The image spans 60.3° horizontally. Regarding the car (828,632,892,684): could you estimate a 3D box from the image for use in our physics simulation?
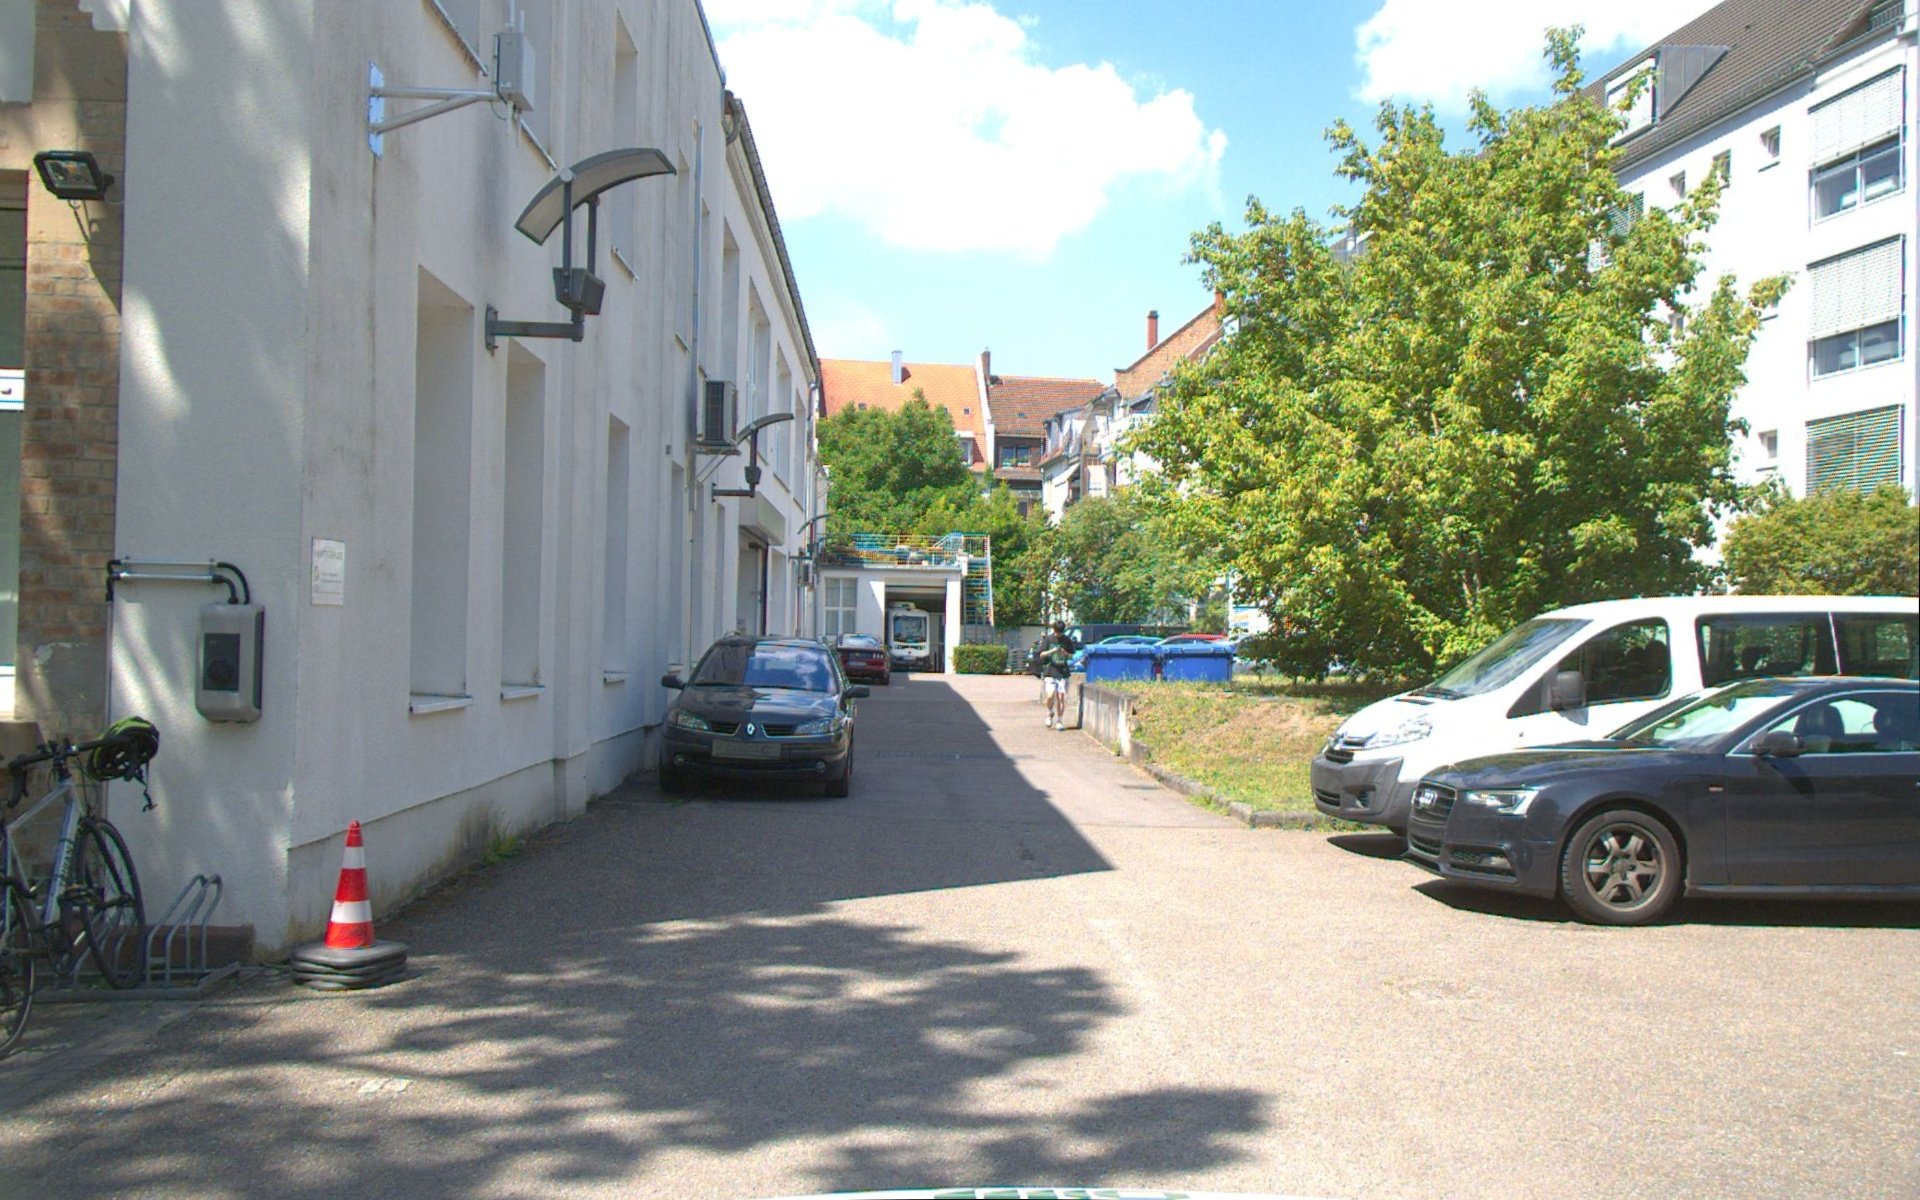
[{"bbox_3d":[-2.878,1.659,48.042,1.763,1.414,3.997,1,-1,-3],"label":"car"}]

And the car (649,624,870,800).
[{"bbox_3d":[-1.840,0.992,16.386,1.719,1.455,4.385,1,-1,-1],"label":"car"}]

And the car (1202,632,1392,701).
[{"bbox_3d":[7.616,1.493,37.591,3.908,1.504,1.803,1,-1,-4],"label":"car"}]

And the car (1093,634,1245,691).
[{"bbox_3d":[5.756,1.713,45.809,3.908,1.504,1.803,1,-1,-4],"label":"car"}]

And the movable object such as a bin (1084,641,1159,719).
[{"bbox_3d":[2.906,1.431,29.846,1.169,1.350,1.159,1,-1,-4],"label":"movable object such as a bin"}]

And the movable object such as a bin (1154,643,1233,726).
[{"bbox_3d":[3.965,1.421,28.176,1.191,1.350,1.160,1,-1,0],"label":"movable object such as a bin"}]

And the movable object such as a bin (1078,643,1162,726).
[{"bbox_3d":[2.697,1.417,28.094,1.311,1.350,1.160,1,-1,0],"label":"movable object such as a bin"}]

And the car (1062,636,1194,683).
[{"bbox_3d":[5.308,1.862,52.430,3.908,1.415,1.803,1,-1,-4],"label":"car"}]

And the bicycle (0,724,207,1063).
[{"bbox_3d":[-3.366,0.991,5.859,0.599,0.975,1.729,1,0,-1],"label":"bicycle"}]

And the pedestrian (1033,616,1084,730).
[{"bbox_3d":[1.568,1.152,26.484,0.742,1.786,0.751,1,-1,-2],"label":"pedestrian"}]

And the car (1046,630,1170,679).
[{"bbox_3d":[4.930,1.808,55.395,3.908,1.561,1.803,1,-1,-4],"label":"car"}]

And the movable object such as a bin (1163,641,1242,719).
[{"bbox_3d":[4.366,1.436,29.869,1.192,1.350,1.159,1,-1,-4],"label":"movable object such as a bin"}]

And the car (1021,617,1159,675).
[{"bbox_3d":[4.559,1.618,58.424,4.585,1.992,2.075,1,-1,-4],"label":"car"}]

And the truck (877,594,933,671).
[{"bbox_3d":[-2.263,1.316,67.144,1.754,2.989,4.645,1,-1,-7],"label":"truck"}]

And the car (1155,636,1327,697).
[{"bbox_3d":[6.941,1.636,41.073,3.908,1.415,1.803,1,-1,-4],"label":"car"}]

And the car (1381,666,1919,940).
[{"bbox_3d":[5.009,1.149,9.841,4.519,1.376,1.832,1,-1,-3],"label":"car"}]

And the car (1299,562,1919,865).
[{"bbox_3d":[5.128,0.828,12.542,4.664,2.049,1.999,1,-1,-3],"label":"car"}]
